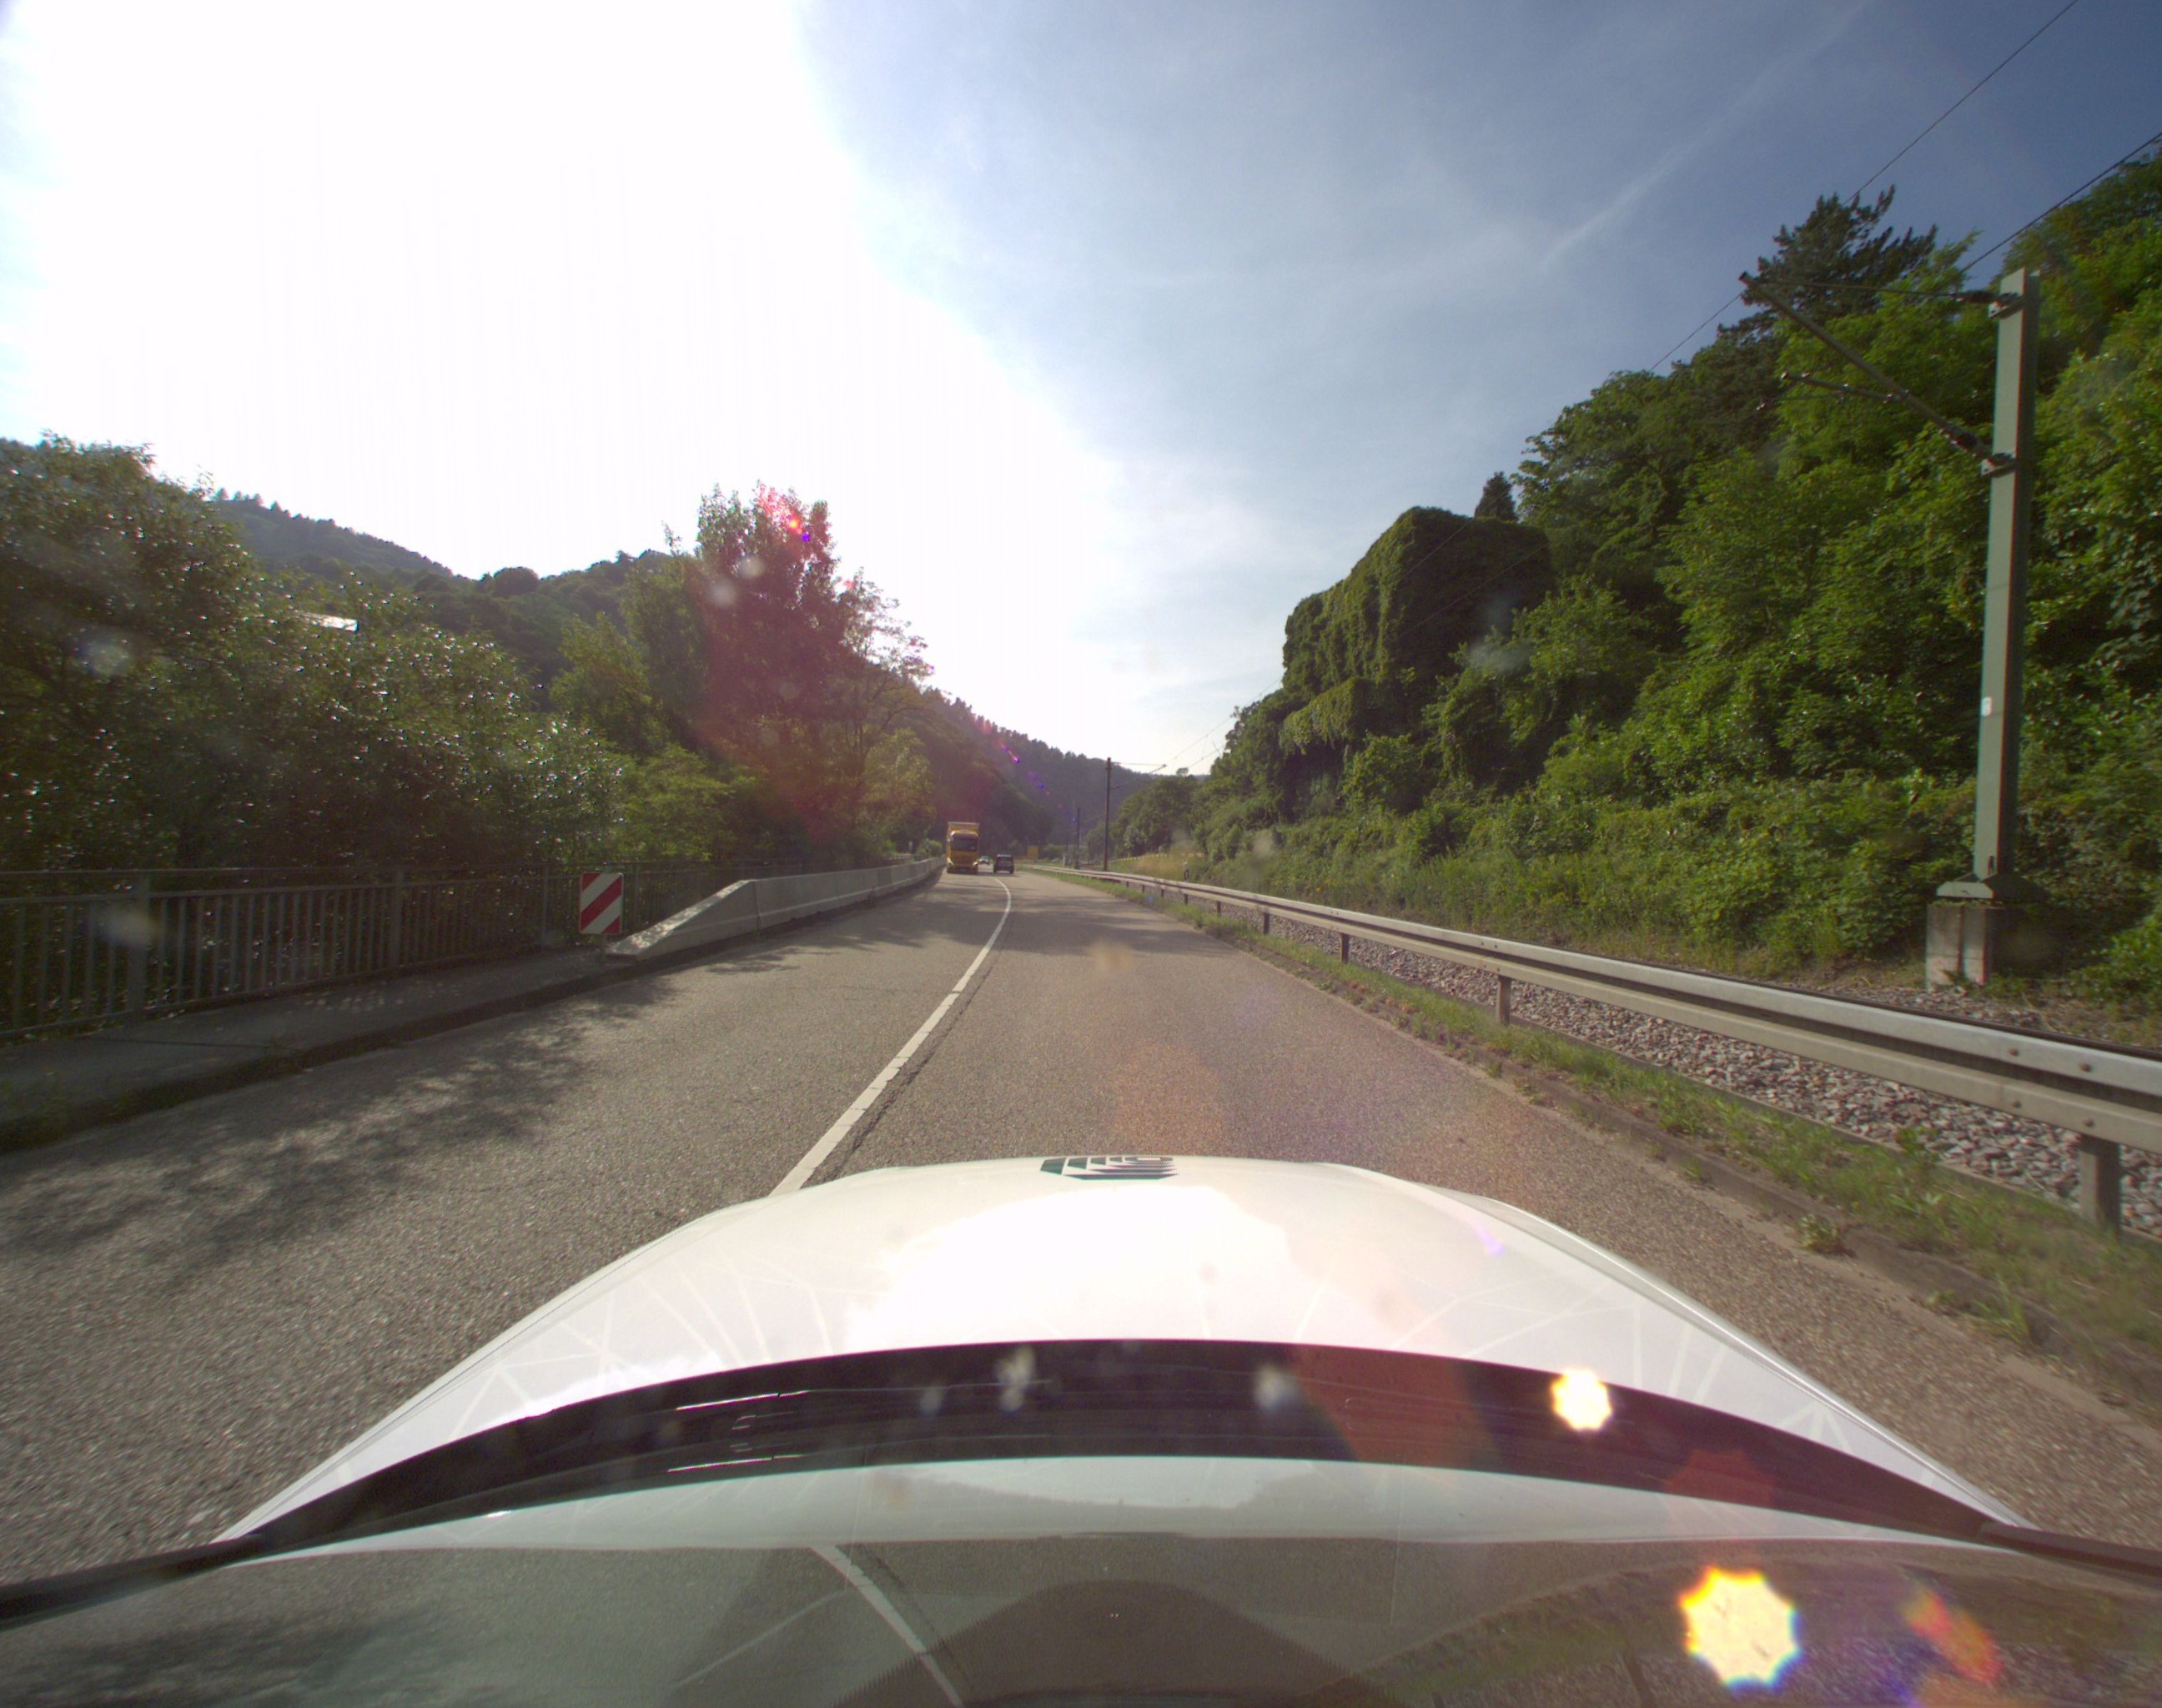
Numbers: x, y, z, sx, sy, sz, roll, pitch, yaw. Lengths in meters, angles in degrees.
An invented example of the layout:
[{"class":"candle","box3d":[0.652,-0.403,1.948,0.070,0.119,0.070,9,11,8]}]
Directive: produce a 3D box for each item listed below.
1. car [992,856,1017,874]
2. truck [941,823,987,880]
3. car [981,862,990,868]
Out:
[{"class":"car","box3d":[-7.062,1.024,74.955,1.873,1.656,3.984,0,-1,-11]},{"class":"truck","box3d":[-9.897,-0.113,69.375,3.367,4.383,12.674,-1,-1,-8]},{"class":"car","box3d":[-19.105,2.247,162.700,1.467,1.084,3.272,3,0,0]}]
